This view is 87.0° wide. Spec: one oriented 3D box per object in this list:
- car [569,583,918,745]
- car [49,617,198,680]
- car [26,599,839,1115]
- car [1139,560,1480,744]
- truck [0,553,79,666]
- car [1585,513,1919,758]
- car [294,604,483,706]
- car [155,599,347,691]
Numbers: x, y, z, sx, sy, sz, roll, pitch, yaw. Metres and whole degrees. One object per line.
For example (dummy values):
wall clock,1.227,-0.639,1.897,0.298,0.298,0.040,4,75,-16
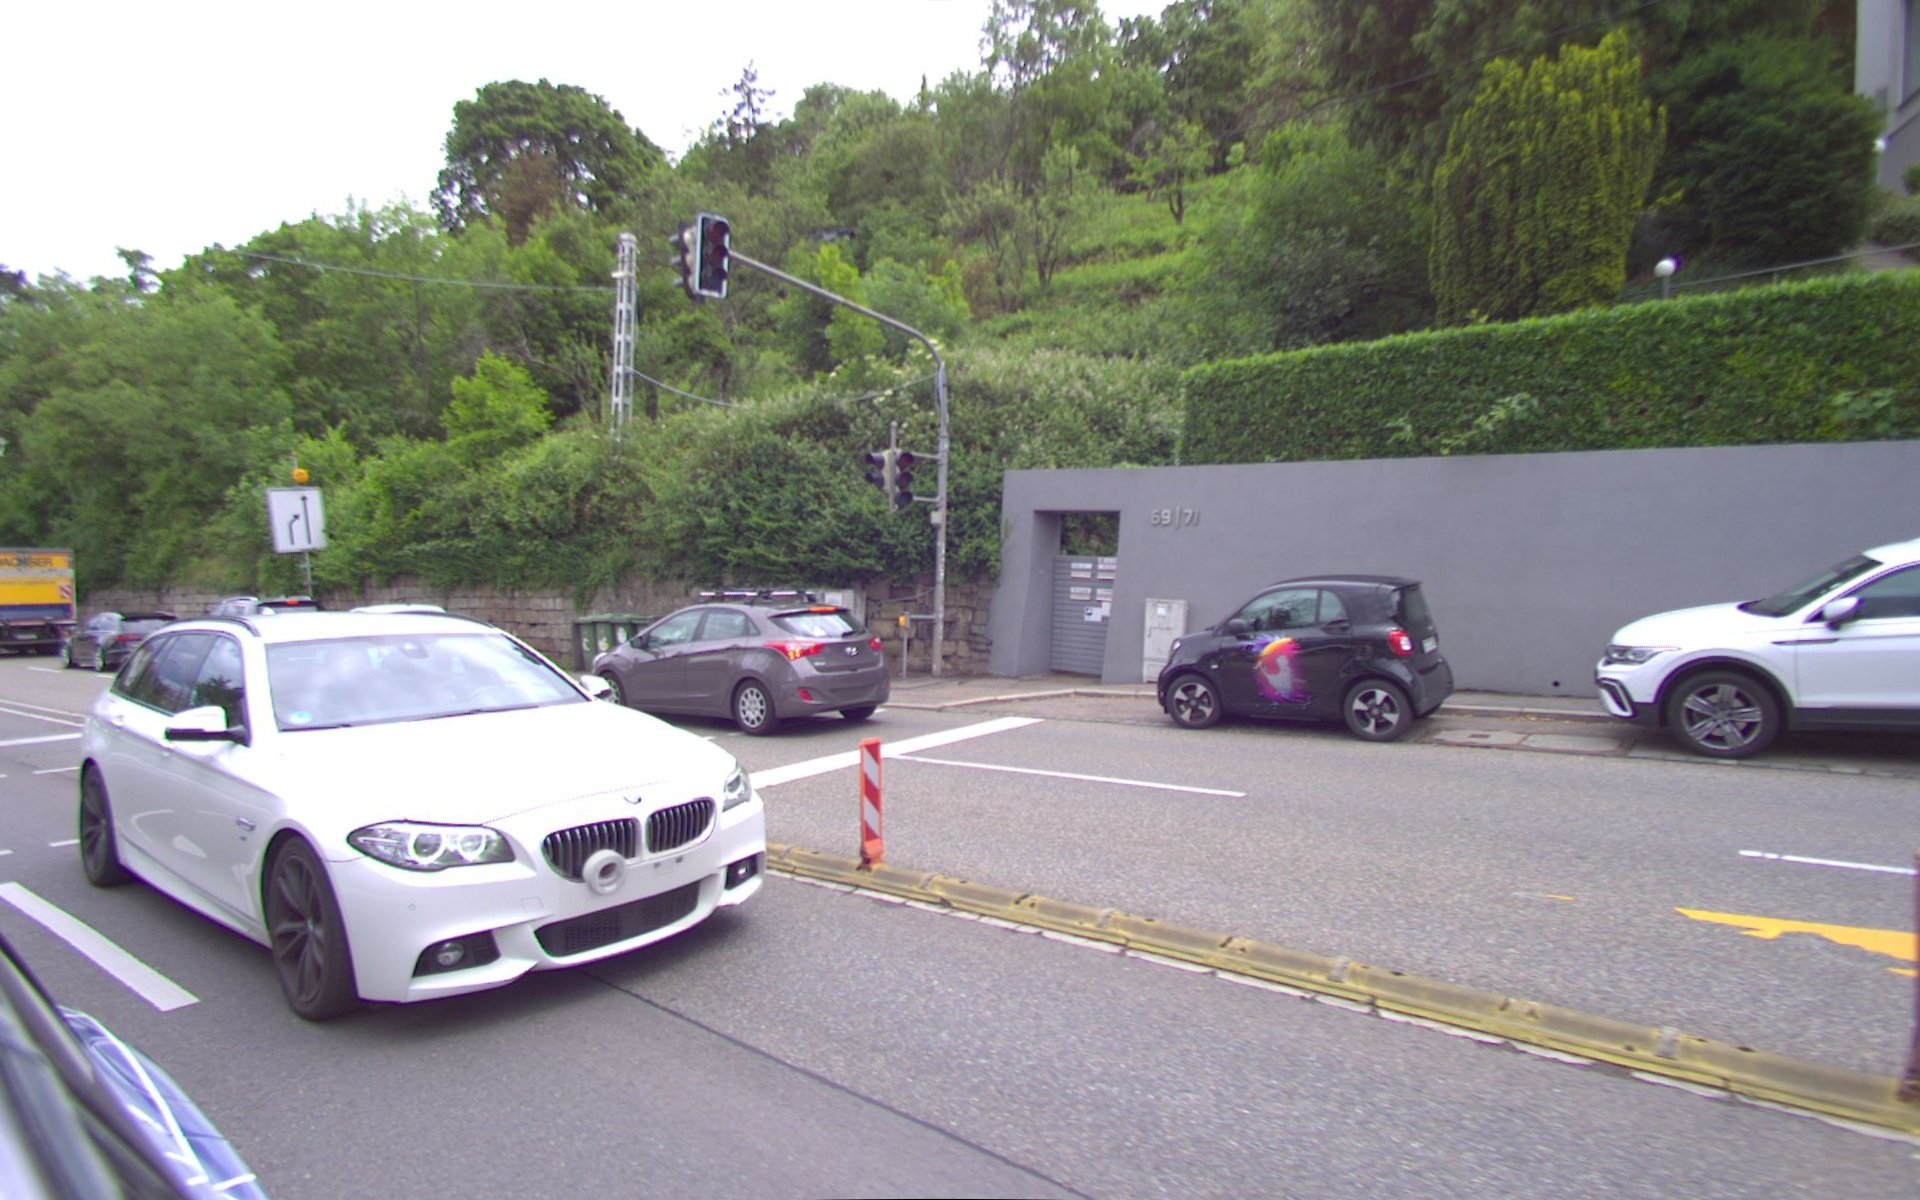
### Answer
car,-2.669,0.639,12.021,4.199,1.609,1.696,0,1,36
car,-21.548,1.188,26.008,4.864,1.440,1.794,-1,0,36
car,-3.028,0.787,5.226,4.871,1.478,1.831,-1,1,38
car,3.623,0.478,10.570,2.952,1.584,1.696,-2,2,37
truck,-32.741,0.330,34.376,7.336,3.536,2.706,-1,0,36
car,7.654,0.207,7.702,4.755,1.744,1.841,-1,2,38
car,-9.649,0.853,16.985,3.660,1.477,1.693,-1,1,43
car,-14.967,0.890,21.275,4.661,1.710,1.867,-1,0,36
